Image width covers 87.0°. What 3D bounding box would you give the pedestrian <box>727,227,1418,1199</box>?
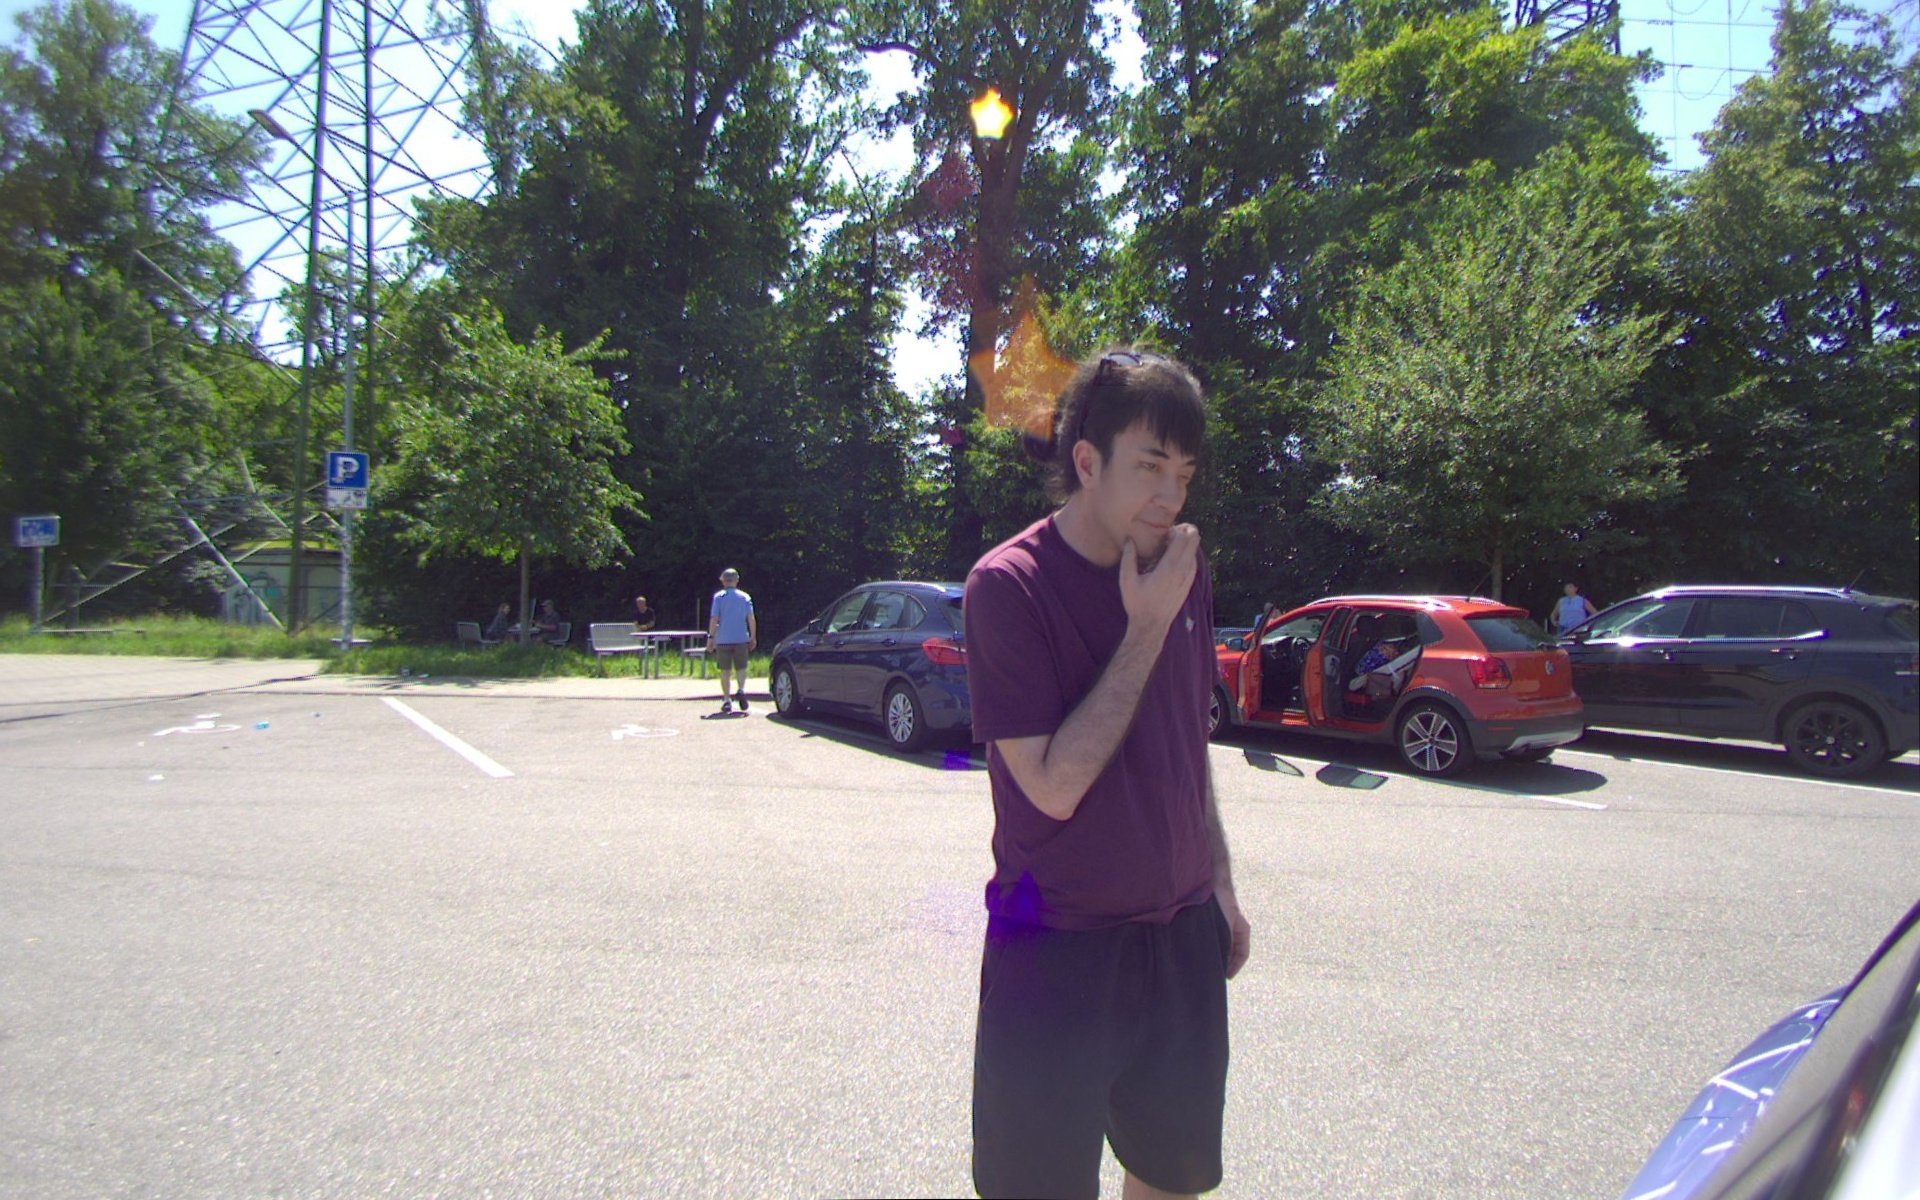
[{"bbox_3d":[0.226,0.519,1.695,0.855,1.857,0.854,0,0,35],"label":"pedestrian"}]

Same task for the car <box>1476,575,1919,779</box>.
[{"bbox_3d":[7.254,0.592,9.716,1.707,1.607,3.732,1,0,-39],"label":"car"}]

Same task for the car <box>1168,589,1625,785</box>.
[{"bbox_3d":[3.889,0.641,9.601,1.559,1.467,3.737,1,0,-33],"label":"car"}]

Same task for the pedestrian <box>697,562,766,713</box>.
[{"bbox_3d":[-2.734,0.436,12.174,0.663,1.754,0.834,0,0,-3],"label":"pedestrian"}]

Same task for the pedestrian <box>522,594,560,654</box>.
[{"bbox_3d":[-9.725,0.539,23.487,0.687,1.352,0.563,0,0,-40],"label":"pedestrian"}]

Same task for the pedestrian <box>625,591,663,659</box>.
[{"bbox_3d":[-6.653,0.516,21.326,0.553,1.408,0.700,0,0,2],"label":"pedestrian"}]

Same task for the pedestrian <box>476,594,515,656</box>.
[{"bbox_3d":[-10.482,0.549,22.849,0.687,1.352,0.563,0,0,-40],"label":"pedestrian"}]

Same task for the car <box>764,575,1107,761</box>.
[{"bbox_3d":[-0.449,0.553,10.674,1.776,1.562,3.940,1,0,-34],"label":"car"}]

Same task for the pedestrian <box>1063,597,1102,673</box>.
[{"bbox_3d":[2.051,0.576,17.023,0.576,1.251,0.697,0,-1,1],"label":"pedestrian"}]

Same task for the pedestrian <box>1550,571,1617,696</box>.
[{"bbox_3d":[9.429,0.489,15.324,0.756,1.854,0.517,0,0,20],"label":"pedestrian"}]

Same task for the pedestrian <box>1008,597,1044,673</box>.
[{"bbox_3d":[1.103,0.580,17.089,0.576,1.251,0.697,0,-1,1],"label":"pedestrian"}]
